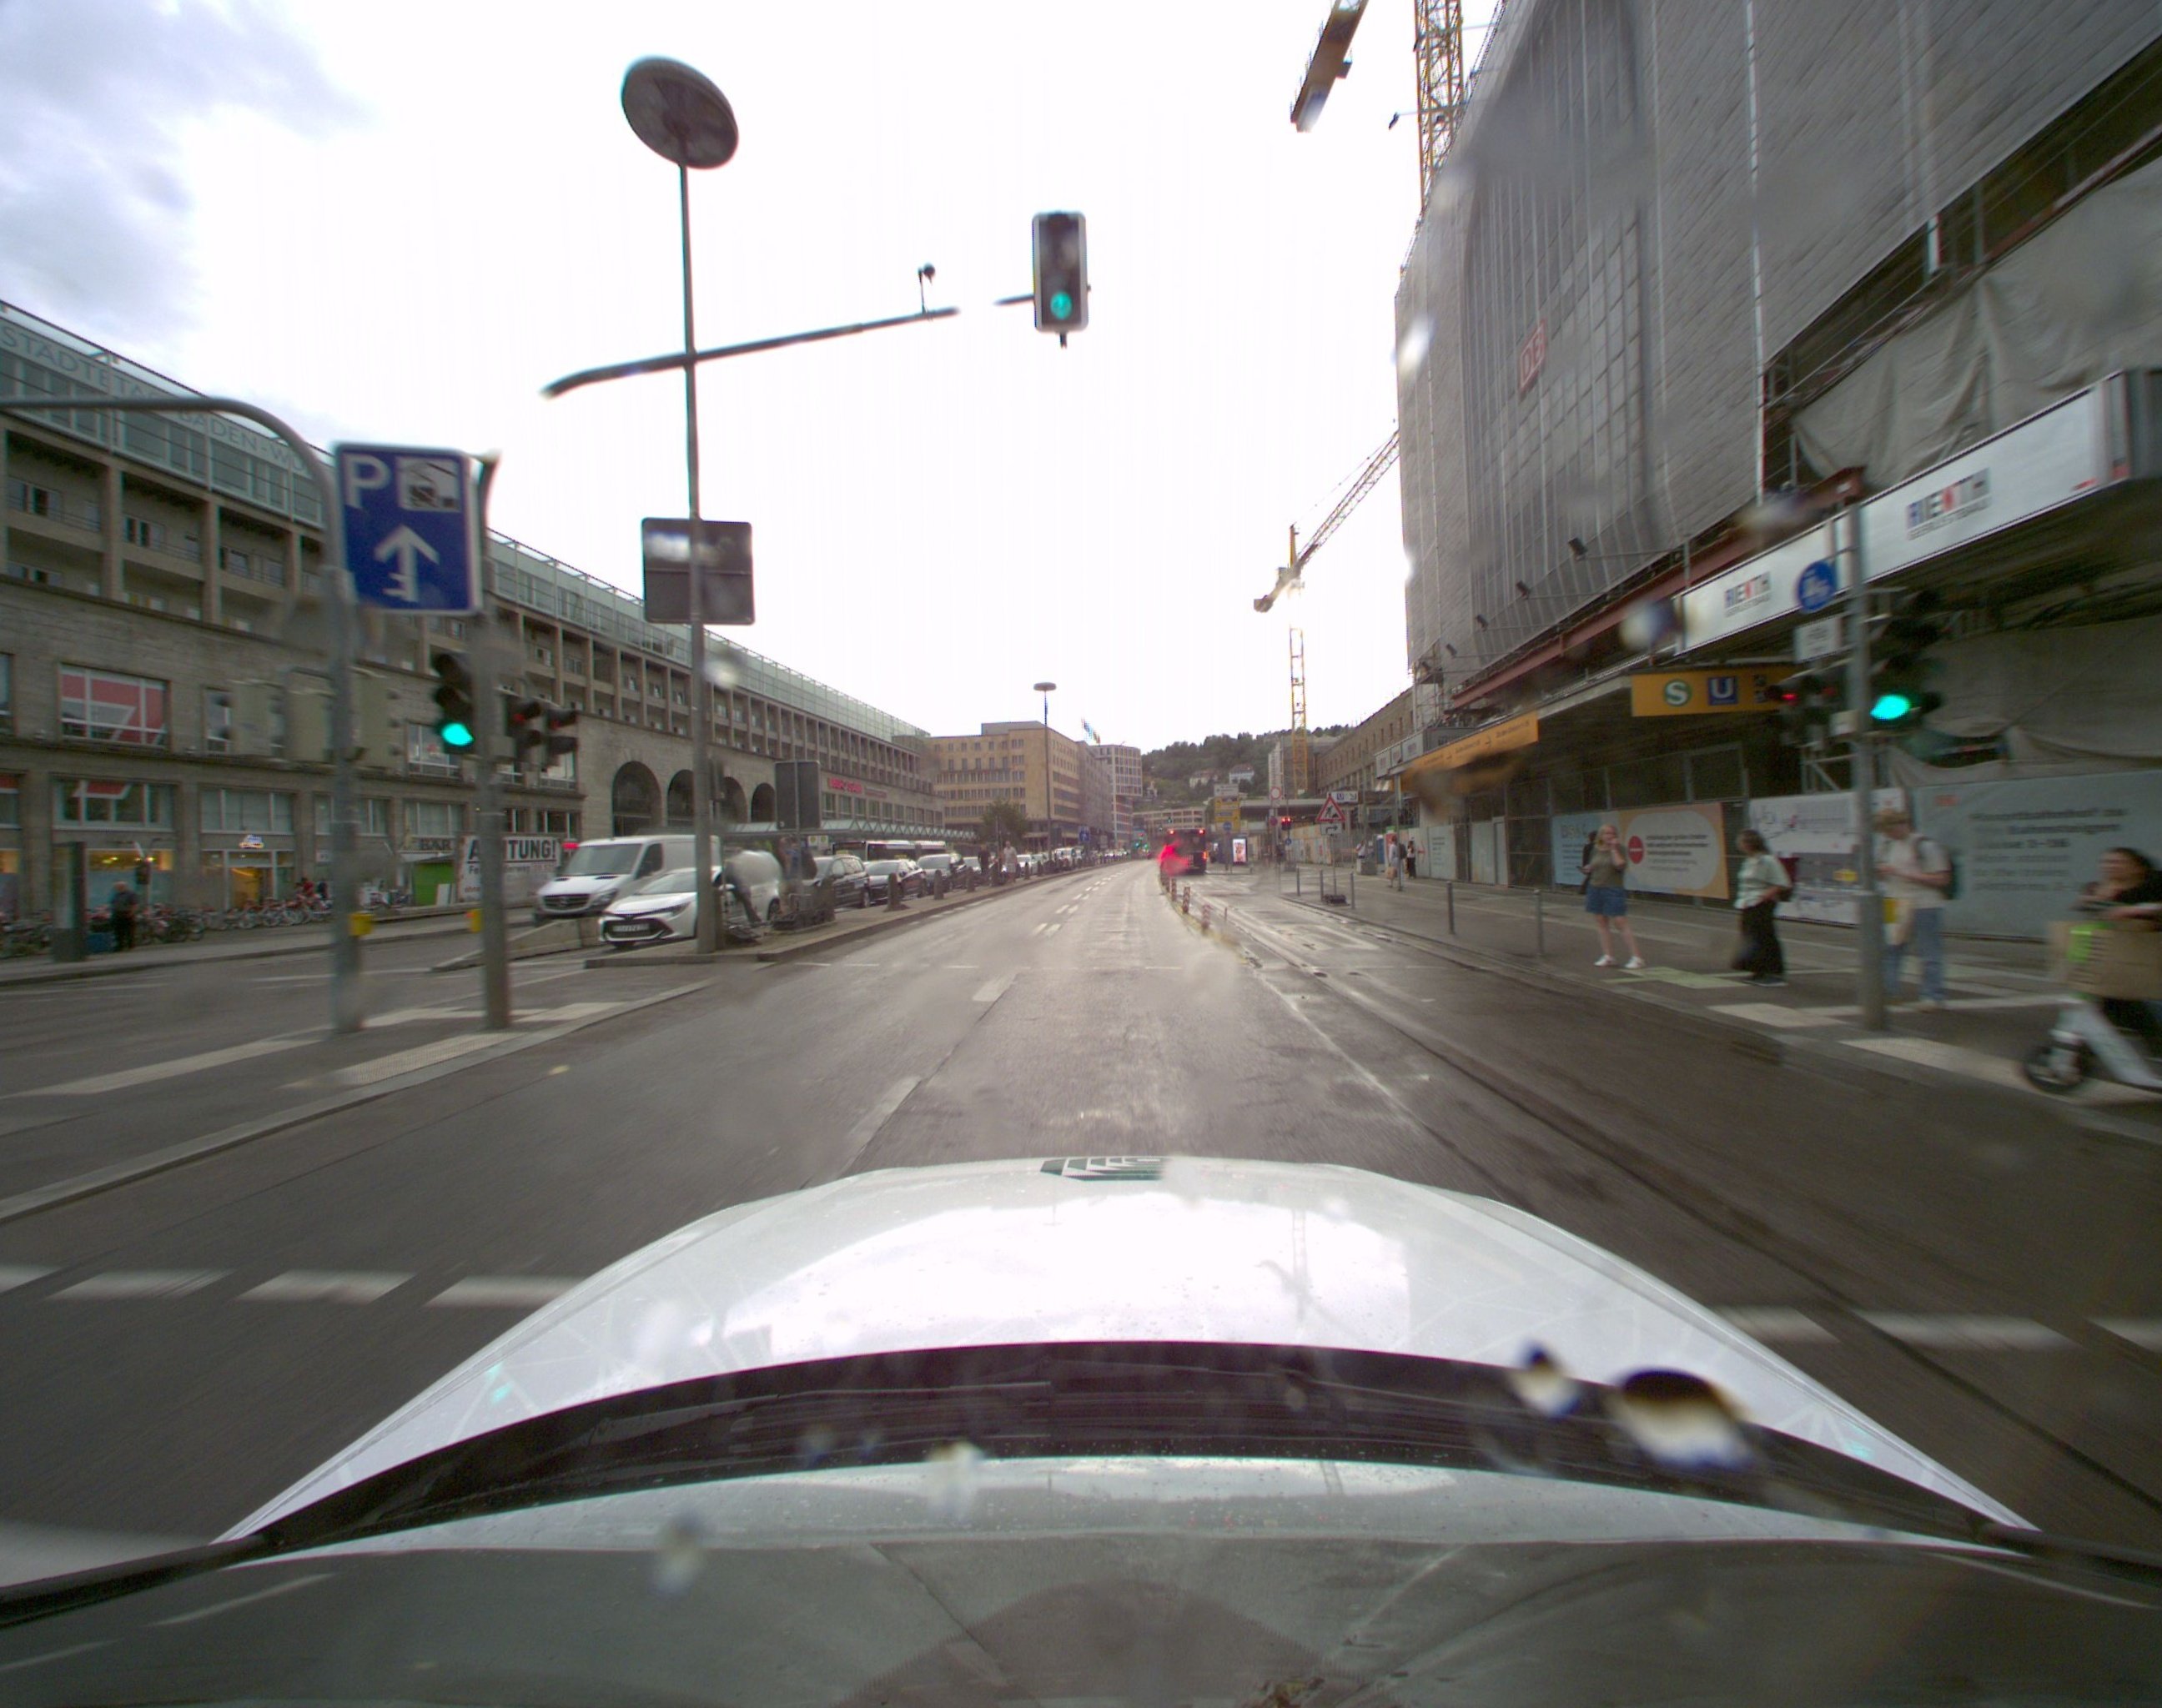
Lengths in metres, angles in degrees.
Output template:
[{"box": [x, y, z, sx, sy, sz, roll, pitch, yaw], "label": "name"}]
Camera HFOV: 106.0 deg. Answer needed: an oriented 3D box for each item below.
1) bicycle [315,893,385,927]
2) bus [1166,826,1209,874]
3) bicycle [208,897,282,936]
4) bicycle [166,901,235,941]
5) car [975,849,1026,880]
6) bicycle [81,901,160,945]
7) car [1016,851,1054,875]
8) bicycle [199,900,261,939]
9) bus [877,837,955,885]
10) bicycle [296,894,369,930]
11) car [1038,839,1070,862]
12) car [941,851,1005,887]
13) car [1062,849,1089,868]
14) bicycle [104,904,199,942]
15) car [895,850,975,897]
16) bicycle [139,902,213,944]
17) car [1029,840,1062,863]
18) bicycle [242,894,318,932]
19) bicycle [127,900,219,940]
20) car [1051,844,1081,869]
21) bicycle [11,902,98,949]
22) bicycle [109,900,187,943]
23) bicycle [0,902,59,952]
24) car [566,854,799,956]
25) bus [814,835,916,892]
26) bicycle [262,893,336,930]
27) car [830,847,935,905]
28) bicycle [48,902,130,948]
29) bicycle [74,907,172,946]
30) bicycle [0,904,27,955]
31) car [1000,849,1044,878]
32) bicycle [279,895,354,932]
[{"box": [-30.833, 2.353, 34.352, 2.202, 1.325, 0.679, -2, 0, -4], "label": "bicycle"}, {"box": [7.366, -0.280, 56.984, 2.741, 3.068, 9.096, -1, 0, 6], "label": "bus"}, {"box": [-31.285, 2.335, 30.481, 1.923, 1.325, 0.679, -2, 0, -4], "label": "bicycle"}, {"box": [-31.544, 2.378, 29.180, 1.702, 1.325, 0.580, -2, 0, -4], "label": "bicycle"}, {"box": [-4.552, 0.589, 46.964, 1.920, 1.576, 5.019, -3, 0, 5], "label": "car"}, {"box": [-31.641, 2.257, 26.853, 1.663, 1.325, 0.679, -2, 0, -4], "label": "bicycle"}, {"box": [-3.285, 0.616, 58.858, 1.920, 1.576, 5.059, -3, 0, 5], "label": "car"}, {"box": [-31.090, 2.376, 29.770, 1.558, 1.325, 0.571, -2, 0, -4], "label": "bicycle"}, {"box": [-12.933, 0.451, 65.130, 2.862, 3.459, 10.593, -2, 0, 6], "label": "bus"}, {"box": [-30.707, 2.367, 33.430, 2.202, 1.325, 0.679, -2, 0, -4], "label": "bicycle"}, {"box": [-2.292, -0.267, 70.068, 1.919, 1.806, 4.591, -3, 0, 7], "label": "car"}, {"box": [-5.262, 0.702, 40.472, 1.920, 1.576, 5.269, -3, 0, 5], "label": "car"}, {"box": [-0.522, 0.443, 81.125, 1.982, 1.722, 4.792, -2, 0, 8], "label": "car"}, {"box": [-28.123, 2.078, 24.660, 2.083, 1.077, 0.596, 0, 1, -2], "label": "bicycle"}, {"box": [-5.893, 0.731, 33.468, 1.920, 1.690, 4.689, -3, 0, 5], "label": "car"}, {"box": [-31.616, 2.402, 28.475, 1.702, 1.325, 0.679, -2, 0, -4], "label": "bicycle"}, {"box": [-2.787, -0.204, 65.078, 1.920, 1.699, 4.892, -3, 0, 5], "label": "car"}, {"box": [-30.695, 2.260, 31.221, 2.202, 1.325, 0.591, -2, 0, -4], "label": "bicycle"}, {"box": [-28.142, 2.043, 25.250, 2.083, 1.180, 0.596, 0, 1, -2], "label": "bicycle"}, {"box": [-1.367, 0.206, 75.766, 1.983, 2.178, 5.555, -2, 0, 7], "label": "car"}, {"box": [-31.537, 2.195, 25.040, 1.663, 1.325, 0.679, -2, 0, -4], "label": "bicycle"}, {"box": [-31.648, 2.277, 27.634, 1.725, 1.325, 0.679, -2, 0, -4], "label": "bicycle"}, {"box": [-31.659, 2.179, 24.321, 1.482, 1.434, 0.513, 0, 1, -6], "label": "bicycle"}, {"box": [-7.677, 0.885, 16.369, 2.006, 1.621, 4.847, -2, 1, 3], "label": "car"}, {"box": [-14.197, 0.502, 54.674, 2.862, 3.376, 10.593, -2, 0, 6], "label": "bus"}, {"box": [-30.609, 2.260, 31.902, 2.202, 1.325, 0.560, -2, 0, -4], "label": "bicycle"}, {"box": [-6.582, 0.689, 27.569, 1.920, 1.690, 4.689, -3, 0, 5], "label": "car"}, {"box": [-31.707, 2.257, 26.042, 1.663, 1.325, 0.679, -2, 0, -4], "label": "bicycle"}, {"box": [-28.155, 2.136, 23.945, 2.083, 1.056, 0.596, 0, 1, -2], "label": "bicycle"}, {"box": [-31.779, 2.190, 23.633, 1.482, 1.434, 0.565, 0, 1, -6], "label": "bicycle"}, {"box": [-3.787, 0.582, 53.081, 1.967, 1.659, 5.200, -3, 0, 5], "label": "car"}, {"box": [-30.655, 2.379, 32.672, 2.202, 1.325, 0.679, -2, 0, -4], "label": "bicycle"}]
